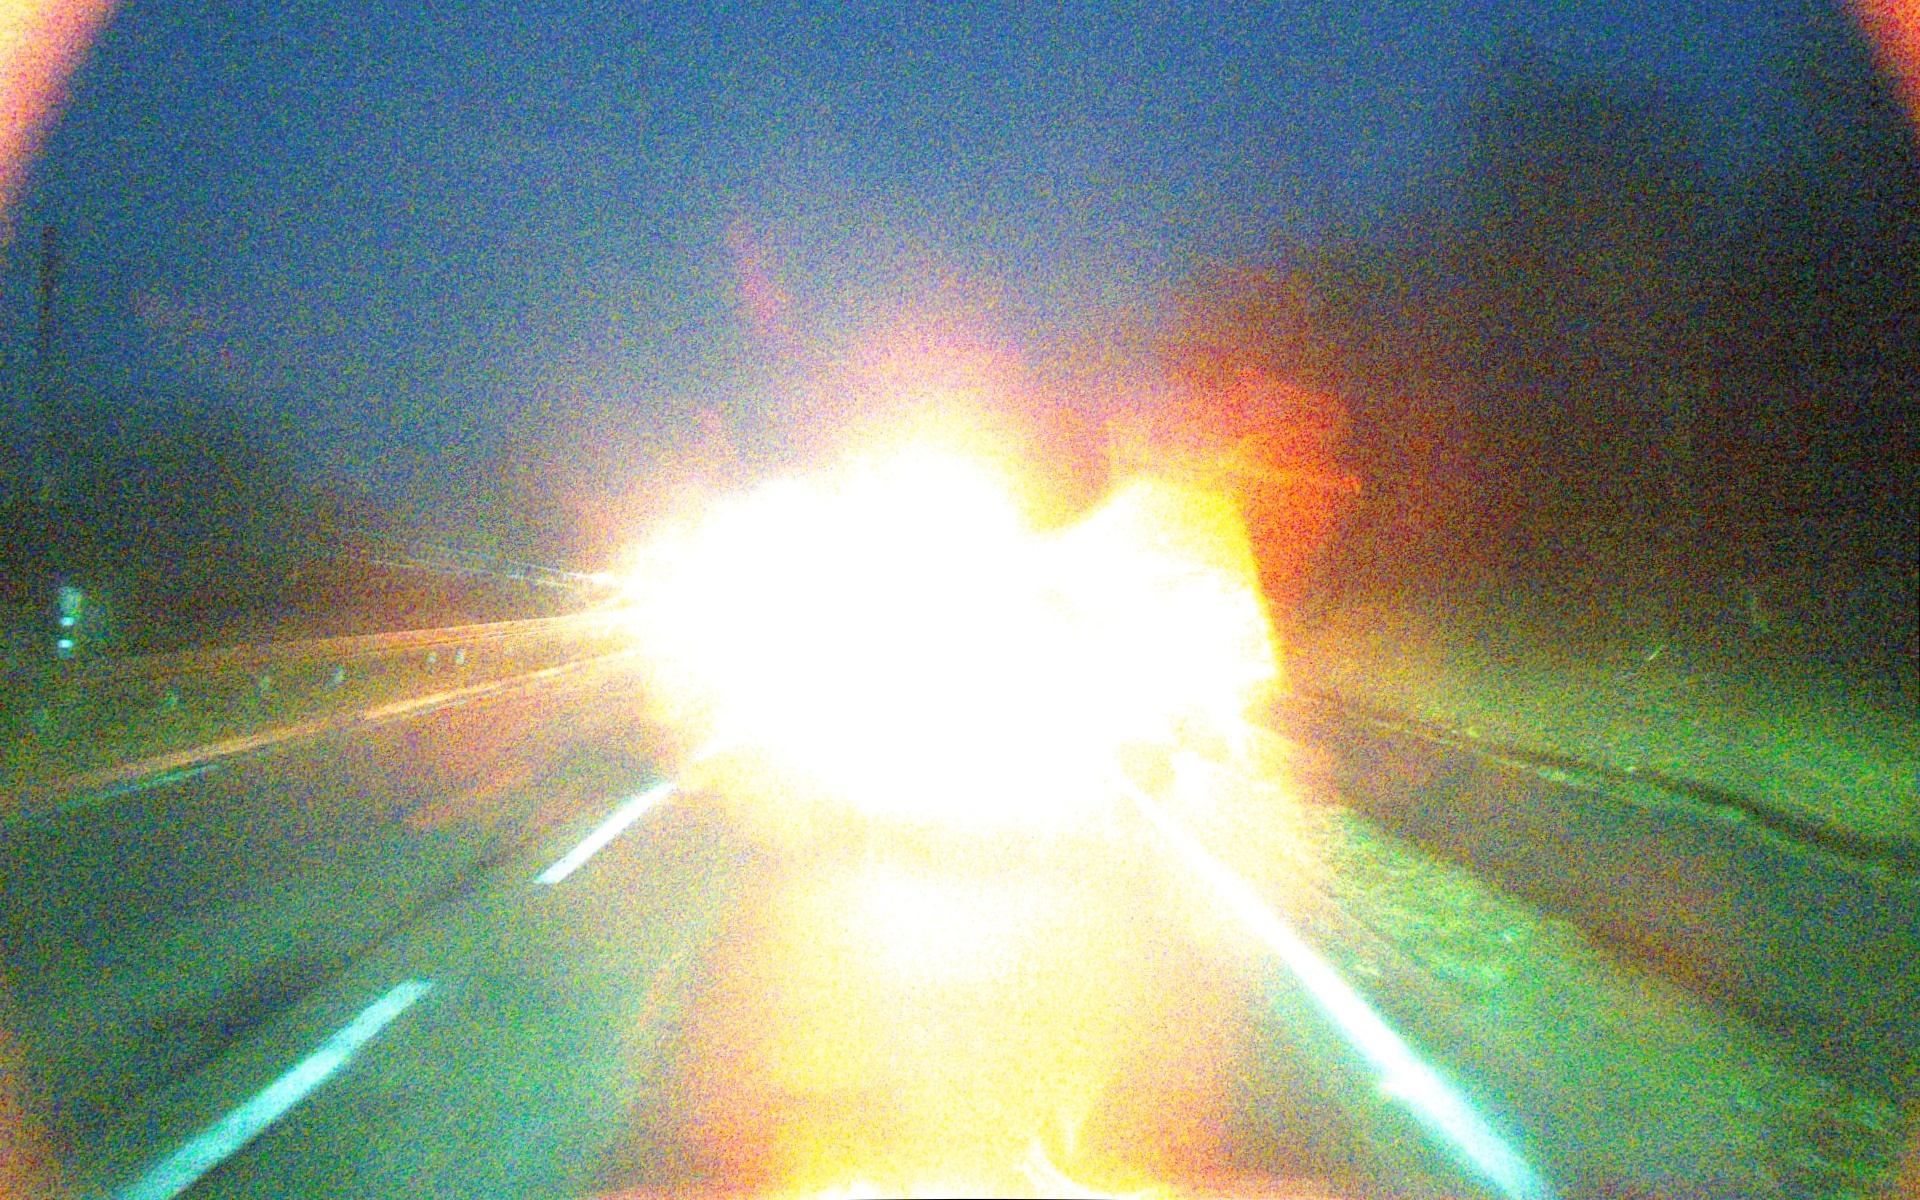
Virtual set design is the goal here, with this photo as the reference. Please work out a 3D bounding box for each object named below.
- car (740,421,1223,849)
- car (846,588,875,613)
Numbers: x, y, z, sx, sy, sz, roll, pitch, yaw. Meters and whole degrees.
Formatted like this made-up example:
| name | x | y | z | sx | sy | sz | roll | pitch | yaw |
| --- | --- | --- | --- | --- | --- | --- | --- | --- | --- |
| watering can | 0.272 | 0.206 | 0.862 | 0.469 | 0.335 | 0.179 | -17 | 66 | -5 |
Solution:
| name | x | y | z | sx | sy | sz | roll | pitch | yaw |
| --- | --- | --- | --- | --- | --- | --- | --- | --- | --- |
| car | 0.063 | 0.172 | 12.235 | 2.660 | 2.348 | 6.099 | 1 | 1 | -1 |
| car | -6.334 | 0.050 | 105.346 | 1.512 | 1.537 | 3.880 | 1 | 0 | 1 |
